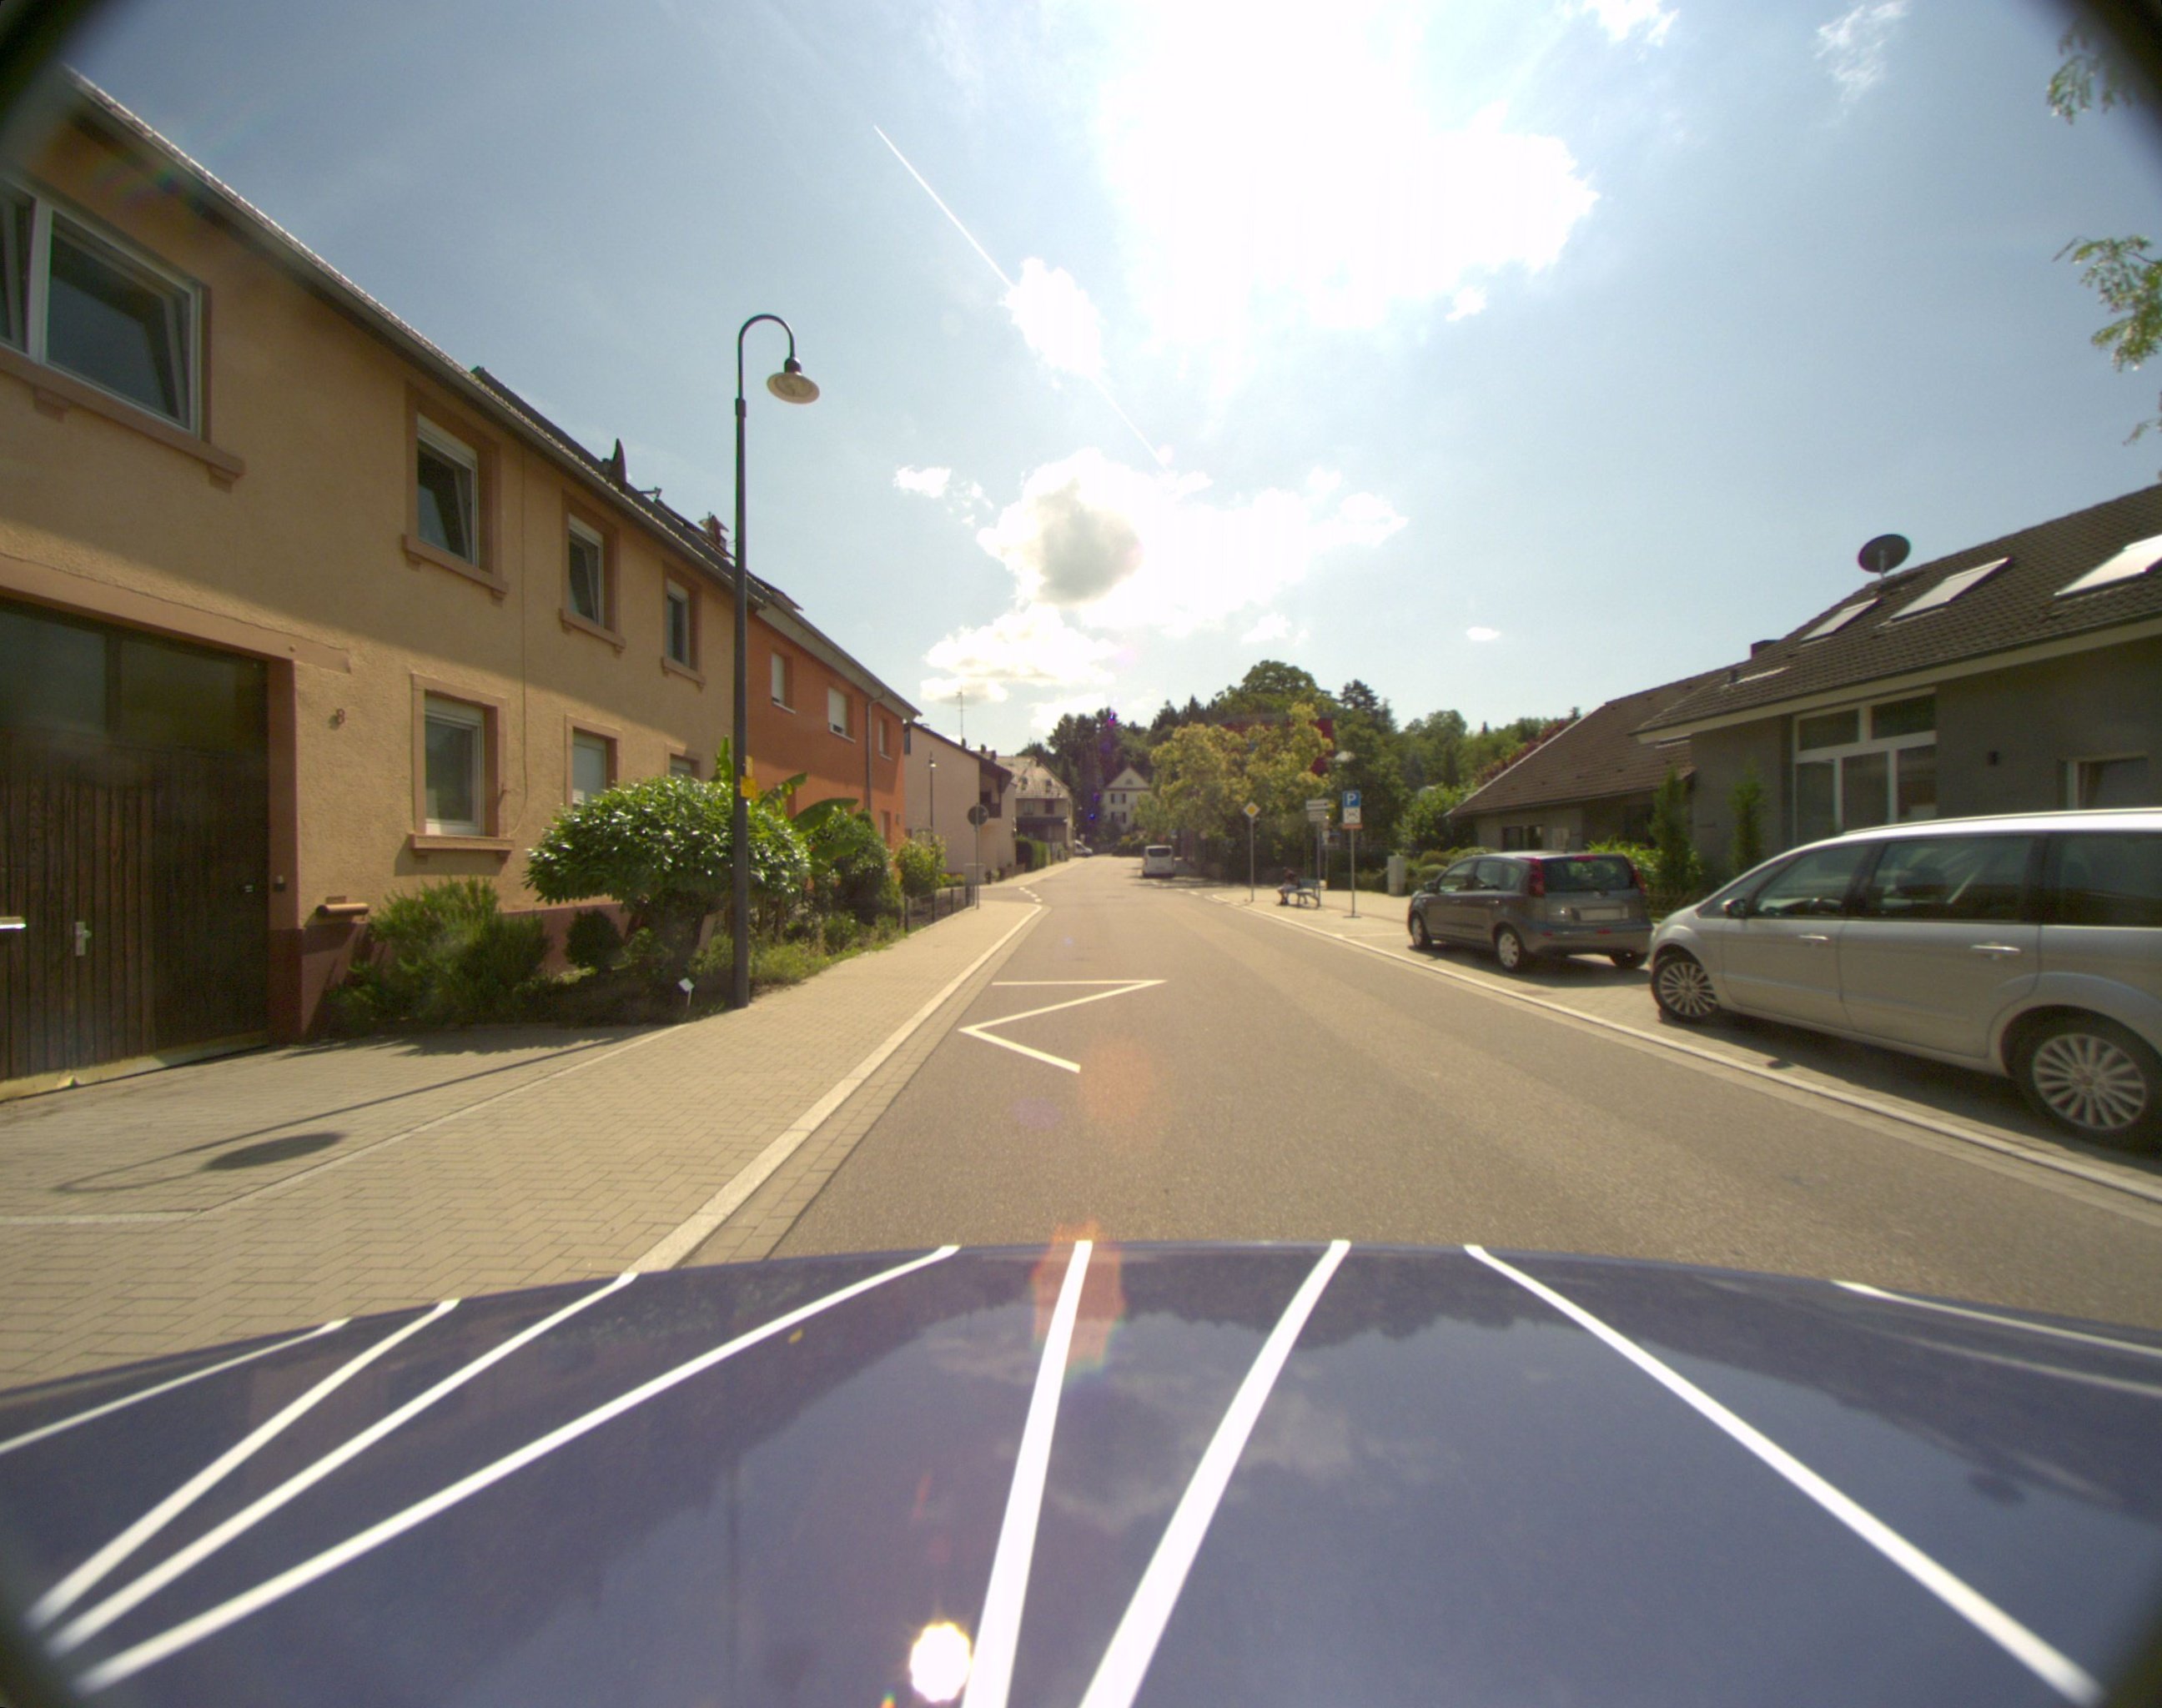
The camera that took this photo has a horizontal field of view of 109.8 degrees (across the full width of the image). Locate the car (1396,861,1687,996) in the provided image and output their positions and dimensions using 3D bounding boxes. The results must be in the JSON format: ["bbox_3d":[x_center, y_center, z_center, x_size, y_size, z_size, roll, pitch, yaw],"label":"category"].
[{"bbox_3d":[6.178,0.900,10.815,1.727,1.515,3.909,-2,-1,0],"label":"car"}]

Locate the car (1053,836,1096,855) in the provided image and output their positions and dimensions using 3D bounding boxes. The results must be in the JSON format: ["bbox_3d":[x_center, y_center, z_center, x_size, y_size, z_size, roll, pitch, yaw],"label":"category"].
[{"bbox_3d":[-0.805,-1.118,101.972,5.595,2.306,2.491,-2,1,2],"label":"car"}]

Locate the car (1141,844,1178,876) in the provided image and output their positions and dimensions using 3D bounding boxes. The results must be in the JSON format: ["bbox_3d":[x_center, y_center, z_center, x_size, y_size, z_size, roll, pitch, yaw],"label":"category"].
[{"bbox_3d":[5.016,0.355,49.125,1.998,1.968,3.999,0,1,0],"label":"car"}]

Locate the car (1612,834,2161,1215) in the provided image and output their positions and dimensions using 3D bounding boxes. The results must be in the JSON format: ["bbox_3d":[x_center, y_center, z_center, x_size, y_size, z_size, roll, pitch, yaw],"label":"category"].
[{"bbox_3d":[5.912,0.775,4.873,1.844,1.737,4.687,-2,-1,3],"label":"car"}]

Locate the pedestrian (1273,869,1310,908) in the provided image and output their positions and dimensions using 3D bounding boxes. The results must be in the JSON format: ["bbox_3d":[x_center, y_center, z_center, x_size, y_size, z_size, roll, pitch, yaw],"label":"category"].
[{"bbox_3d":[6.485,1.055,23.447,0.815,1.135,0.885,-2,1,-3],"label":"pedestrian"}]
